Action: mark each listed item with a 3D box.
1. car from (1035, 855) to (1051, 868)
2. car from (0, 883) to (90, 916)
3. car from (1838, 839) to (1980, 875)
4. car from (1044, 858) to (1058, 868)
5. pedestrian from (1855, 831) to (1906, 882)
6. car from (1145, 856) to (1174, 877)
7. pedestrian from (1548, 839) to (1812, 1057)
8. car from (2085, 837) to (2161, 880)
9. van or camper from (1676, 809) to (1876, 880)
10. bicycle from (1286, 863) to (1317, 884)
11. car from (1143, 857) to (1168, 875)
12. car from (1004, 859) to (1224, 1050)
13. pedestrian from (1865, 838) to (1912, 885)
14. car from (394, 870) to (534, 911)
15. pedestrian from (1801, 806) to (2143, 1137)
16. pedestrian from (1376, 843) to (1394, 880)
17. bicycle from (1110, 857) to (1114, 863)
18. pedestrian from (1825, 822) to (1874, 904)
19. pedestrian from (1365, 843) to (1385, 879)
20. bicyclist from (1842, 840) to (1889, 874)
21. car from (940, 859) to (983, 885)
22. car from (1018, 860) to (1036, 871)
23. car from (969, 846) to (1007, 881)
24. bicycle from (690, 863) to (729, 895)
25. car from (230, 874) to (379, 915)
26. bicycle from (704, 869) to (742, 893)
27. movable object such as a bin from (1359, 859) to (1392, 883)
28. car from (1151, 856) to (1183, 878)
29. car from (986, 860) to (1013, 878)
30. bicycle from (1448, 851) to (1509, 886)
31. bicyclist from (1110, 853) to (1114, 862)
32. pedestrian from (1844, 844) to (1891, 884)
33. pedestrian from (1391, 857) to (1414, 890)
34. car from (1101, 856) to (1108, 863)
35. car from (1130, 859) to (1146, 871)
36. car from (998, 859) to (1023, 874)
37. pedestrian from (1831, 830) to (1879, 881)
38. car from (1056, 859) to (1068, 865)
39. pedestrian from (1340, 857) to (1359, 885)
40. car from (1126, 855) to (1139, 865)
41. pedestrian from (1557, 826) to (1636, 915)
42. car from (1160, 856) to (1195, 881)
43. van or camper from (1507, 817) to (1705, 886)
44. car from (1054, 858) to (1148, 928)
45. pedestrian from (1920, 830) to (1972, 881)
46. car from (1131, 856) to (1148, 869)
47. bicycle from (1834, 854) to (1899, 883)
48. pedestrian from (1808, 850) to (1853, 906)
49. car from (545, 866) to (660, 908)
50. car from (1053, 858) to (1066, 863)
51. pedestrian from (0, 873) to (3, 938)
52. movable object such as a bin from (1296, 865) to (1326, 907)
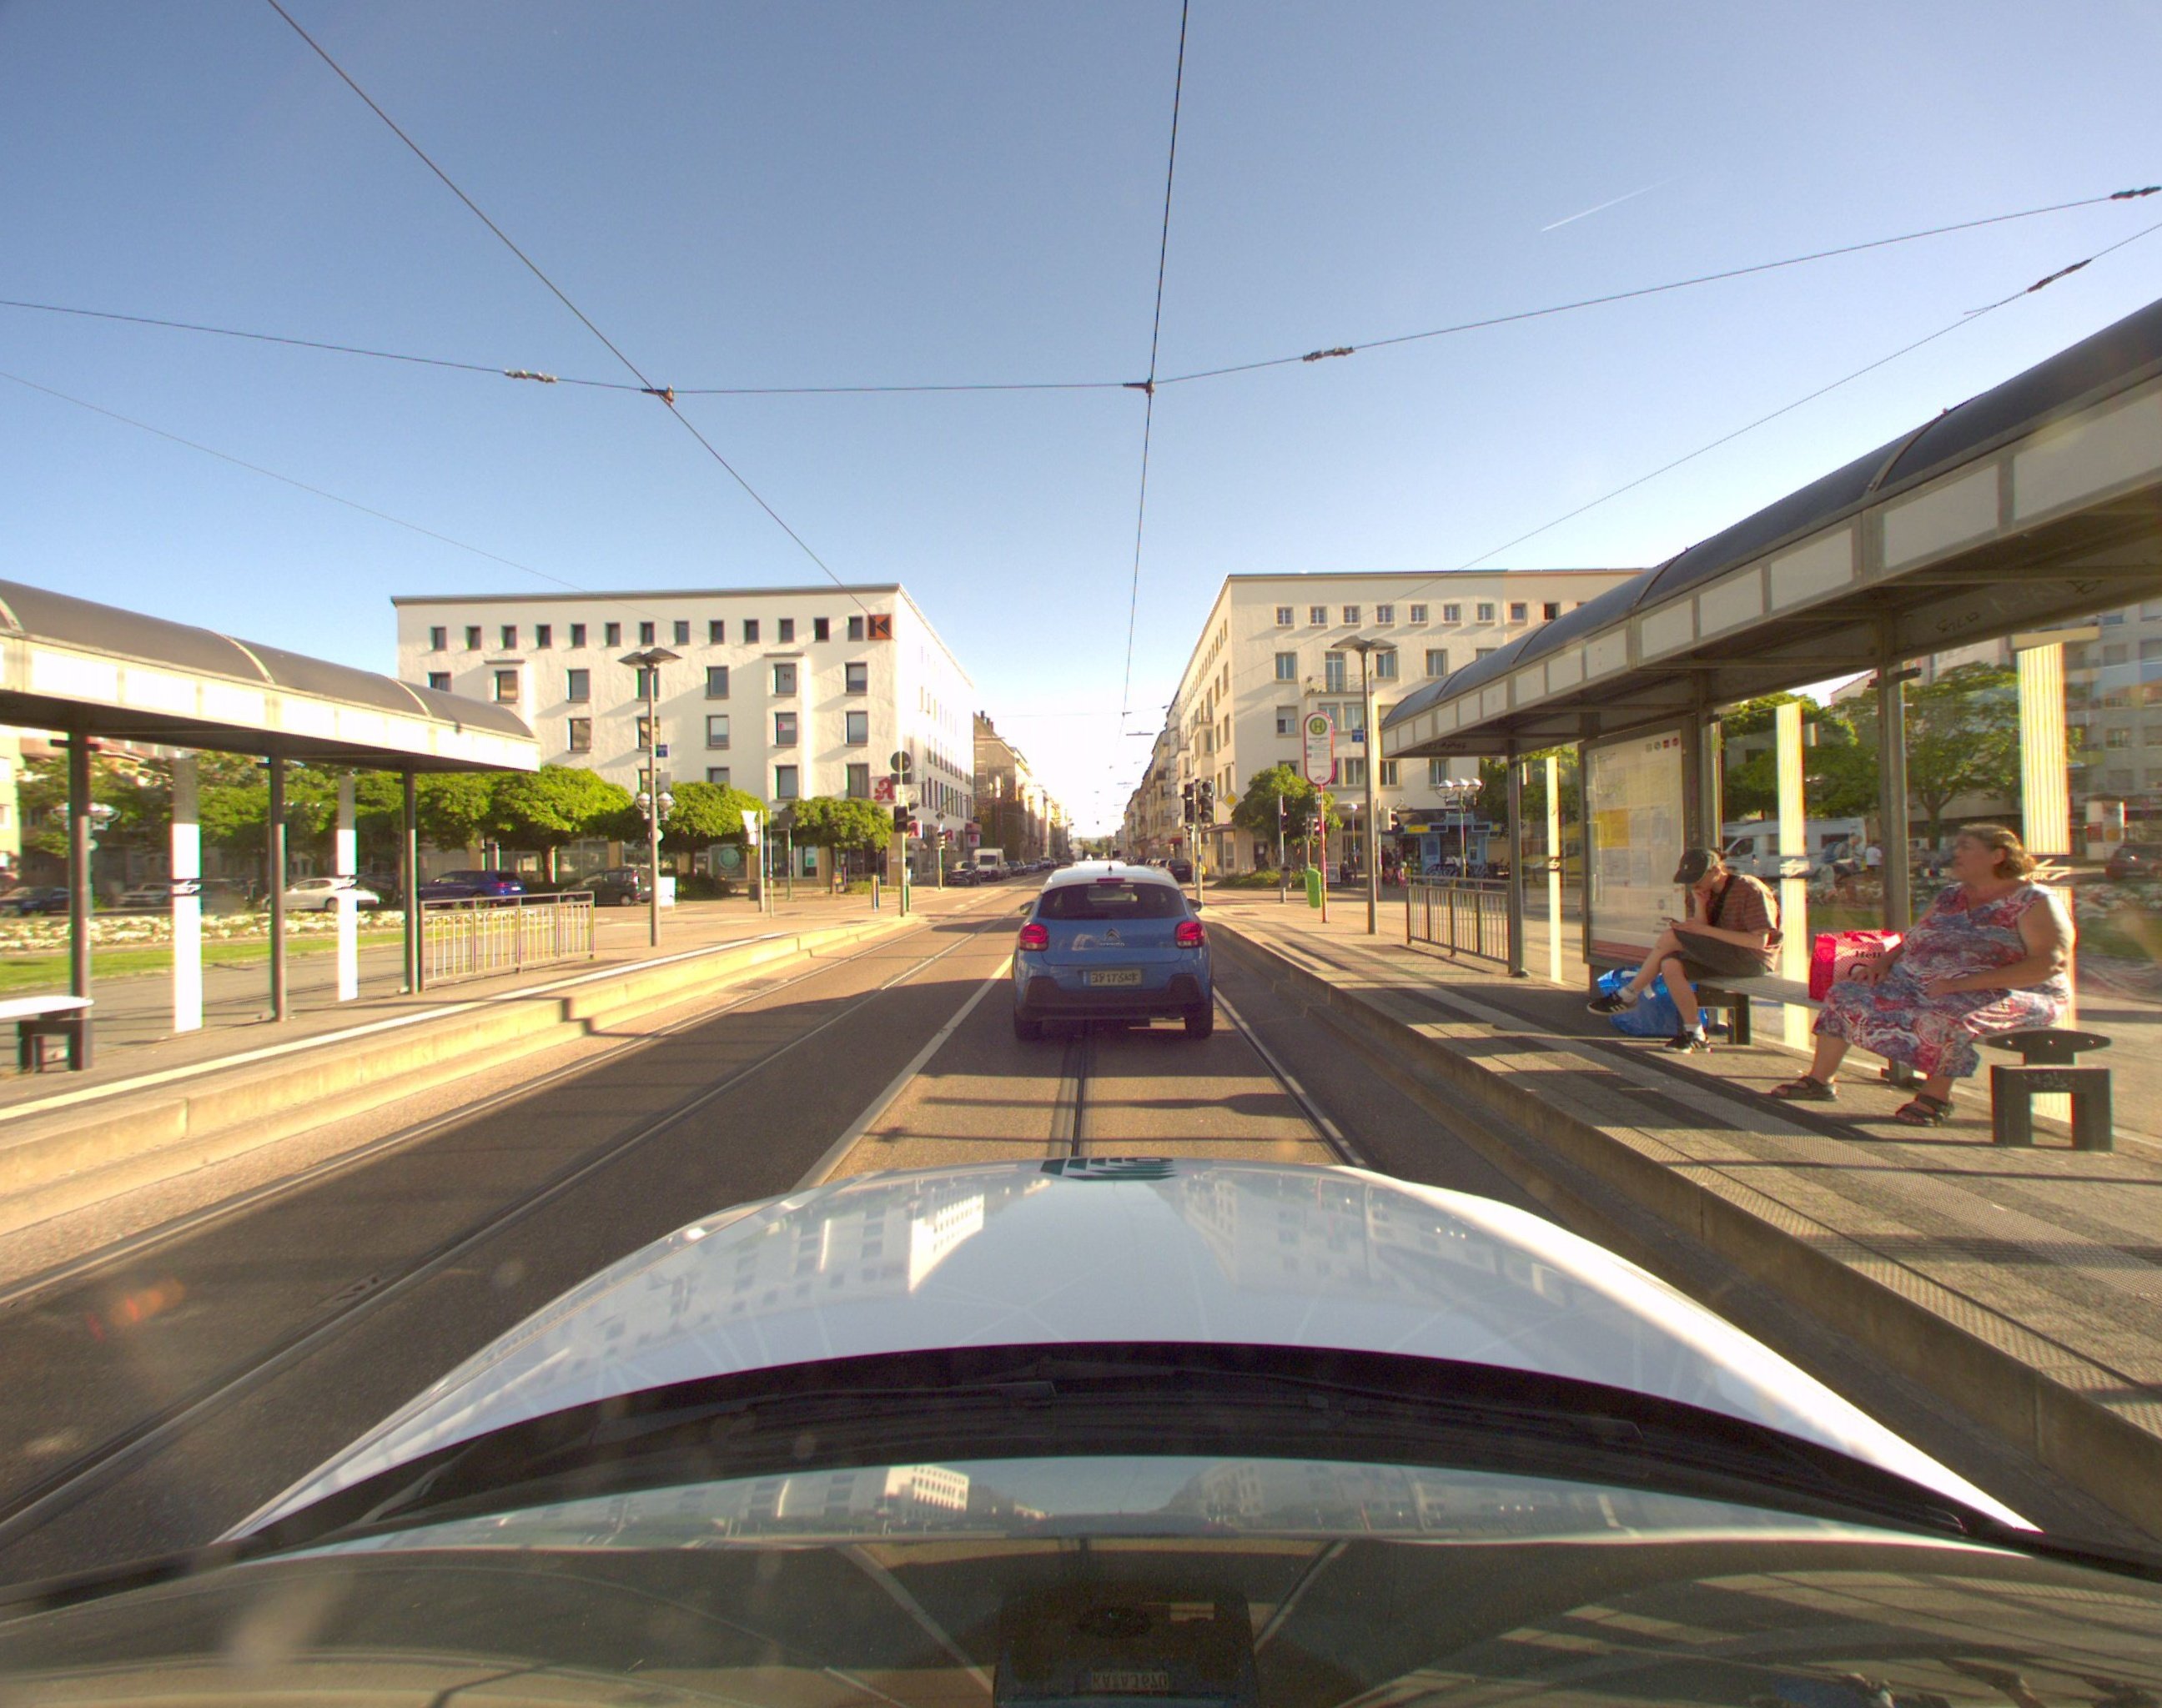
[{"bbox_3d":[-5.937,1.210,126.896,1.997,2.014,4.694,0,-1,4],"label":"car"},{"bbox_3d":[-52.425,2.249,40.818,1.925,1.494,4.314,0,-1,-27],"label":"car"},{"bbox_3d":[36.669,0.155,36.180,3.959,1.512,2.007,-1,-1,13],"label":"car"},{"bbox_3d":[-5.014,1.544,137.264,1.946,1.552,3.942,0,-1,4],"label":"car"},{"bbox_3d":[25.369,0.072,25.854,0.897,1.585,0.663,-1,-1,5],"label":"pedestrian"},{"bbox_3d":[5.982,0.942,62.760,1.986,1.501,4.002,-1,0,2],"label":"car"},{"bbox_3d":[3.707,0.544,5.141,0.995,1.225,0.923,2,-1,2],"label":"pedestrian"},{"bbox_3d":[38.545,0.122,28.836,3.983,1.486,1.995,-1,0,-7],"label":"car"},{"bbox_3d":[30.124,-0.372,35.506,6.375,2.839,2.381,-1,-1,5],"label":"van or camper"},{"bbox_3d":[11.433,1.015,42.290,1.556,1.120,0.301,-1,-1,12],"label":"bicycle"},{"bbox_3d":[6.564,1.060,72.283,1.986,1.464,4.002,-1,0,2],"label":"car"},{"bbox_3d":[0.315,0.798,8.301,1.721,1.482,3.828,0,0,2],"label":"car"},{"bbox_3d":[27.775,0.269,28.019,0.897,1.585,0.663,-1,-1,5],"label":"pedestrian"},{"bbox_3d":[-27.180,1.584,35.993,4.591,1.662,1.999,-1,-1,-1],"label":"car"},{"bbox_3d":[3.951,0.486,3.671,0.855,1.334,0.623,2,-1,1],"label":"pedestrian"},{"bbox_3d":[15.333,0.379,41.042,0.650,1.839,0.660,-1,-1,5],"label":"pedestrian"},{"bbox_3d":[7.065,1.384,186.327,0.916,1.389,3.134,-1,0,2],"label":"bicycle"},{"bbox_3d":[16.593,0.203,17.599,0.554,1.745,0.528,-1,-1,12],"label":"pedestrian"},{"bbox_3d":[15.173,0.365,42.059,0.781,1.839,0.679,-1,-1,5],"label":"pedestrian"},{"bbox_3d":[29.362,0.112,30.493,0.933,1.225,0.948,1,0,-18],"label":"bicyclist"},{"bbox_3d":[-7.642,1.134,52.569,1.987,1.569,4.403,2,-1,1],"label":"car"},{"bbox_3d":[-6.862,1.453,103.385,1.987,1.325,3.923,0,-1,1],"label":"car"},{"bbox_3d":[-7.104,0.723,62.929,2.078,2.542,6.206,0,0,1],"label":"car"},{"bbox_3d":[-19.822,1.306,43.566,0.614,1.607,2.624,-1,-1,6],"label":"bicycle"},{"bbox_3d":[-33.509,1.733,35.242,4.591,1.606,1.855,-1,-1,-1],"label":"car"},{"bbox_3d":[-19.099,1.444,43.523,0.615,1.190,2.624,-1,0,5],"label":"bicycle"},{"bbox_3d":[14.397,0.828,39.853,1.194,1.153,1.218,-1,-1,2],"label":"movable object such as a bin"},{"bbox_3d":[6.042,0.916,57.389,1.986,1.464,4.002,-1,0,2],"label":"car"},{"bbox_3d":[-6.946,1.237,69.724,1.881,1.496,3.562,0,-1,1],"label":"car"},{"bbox_3d":[17.723,0.636,36.378,2.376,1.531,0.726,0,0,0],"label":"bicycle"},{"bbox_3d":[7.029,0.805,186.287,0.807,2.014,0.922,0,-1,0],"label":"bicyclist"},{"bbox_3d":[25.737,0.314,26.651,0.897,1.279,0.605,-1,-1,4],"label":"pedestrian"},{"bbox_3d":[14.167,0.854,35.939,0.727,1.409,0.755,-1,3,2],"label":"pedestrian"},{"bbox_3d":[6.931,1.633,238.635,1.986,1.772,4.002,-1,0,2],"label":"car"},{"bbox_3d":[7.642,1.424,109.349,1.986,1.552,4.002,-1,0,2],"label":"car"},{"bbox_3d":[-6.732,1.206,78.122,1.987,1.398,4.157,0,-1,1],"label":"car"},{"bbox_3d":[26.031,0.056,27.415,0.897,1.685,0.696,-1,-1,5],"label":"pedestrian"},{"bbox_3d":[-3.574,1.480,154.143,1.986,1.156,4.002,-1,0,2],"label":"car"},{"bbox_3d":[12.752,0.801,38.697,0.733,1.316,0.631,-1,-1,25],"label":"pedestrian"},{"bbox_3d":[8.379,0.946,132.961,1.986,1.464,4.002,-1,0,2],"label":"car"},{"bbox_3d":[11.421,0.367,18.091,0.978,1.878,1.128,-1,-2,-1],"label":"pedestrian"},{"bbox_3d":[6.162,0.909,52.362,1.902,1.464,4.002,-1,0,2],"label":"car"},{"bbox_3d":[22.952,-0.122,35.830,7.093,2.747,2.372,-1,1,2],"label":"van or camper"},{"bbox_3d":[0.499,0.844,19.657,1.977,1.464,4.817,0,0,2],"label":"car"},{"bbox_3d":[27.630,0.038,26.019,0.897,1.585,0.663,-1,-1,5],"label":"pedestrian"},{"bbox_3d":[7.300,1.071,101.847,1.986,1.464,4.507,-1,0,2],"label":"car"},{"bbox_3d":[29.436,0.533,30.508,2.320,1.061,0.717,0,0,-17],"label":"bicycle"},{"bbox_3d":[15.950,0.501,17.347,0.466,1.169,0.559,0,-1,10],"label":"pedestrian"},{"bbox_3d":[-21.239,1.444,36.249,3.973,1.706,1.826,-1,-1,1],"label":"car"},{"bbox_3d":[-4.777,1.496,185.017,1.981,1.156,4.528,-1,0,11],"label":"car"},{"bbox_3d":[-30.912,1.462,22.593,0.938,1.817,0.872,-1,-1,13],"label":"pedestrian"},{"bbox_3d":[4.352,0.603,15.439,0.447,0.786,0.489,-1,-1,4],"label":"movable object such as a bin"}]
